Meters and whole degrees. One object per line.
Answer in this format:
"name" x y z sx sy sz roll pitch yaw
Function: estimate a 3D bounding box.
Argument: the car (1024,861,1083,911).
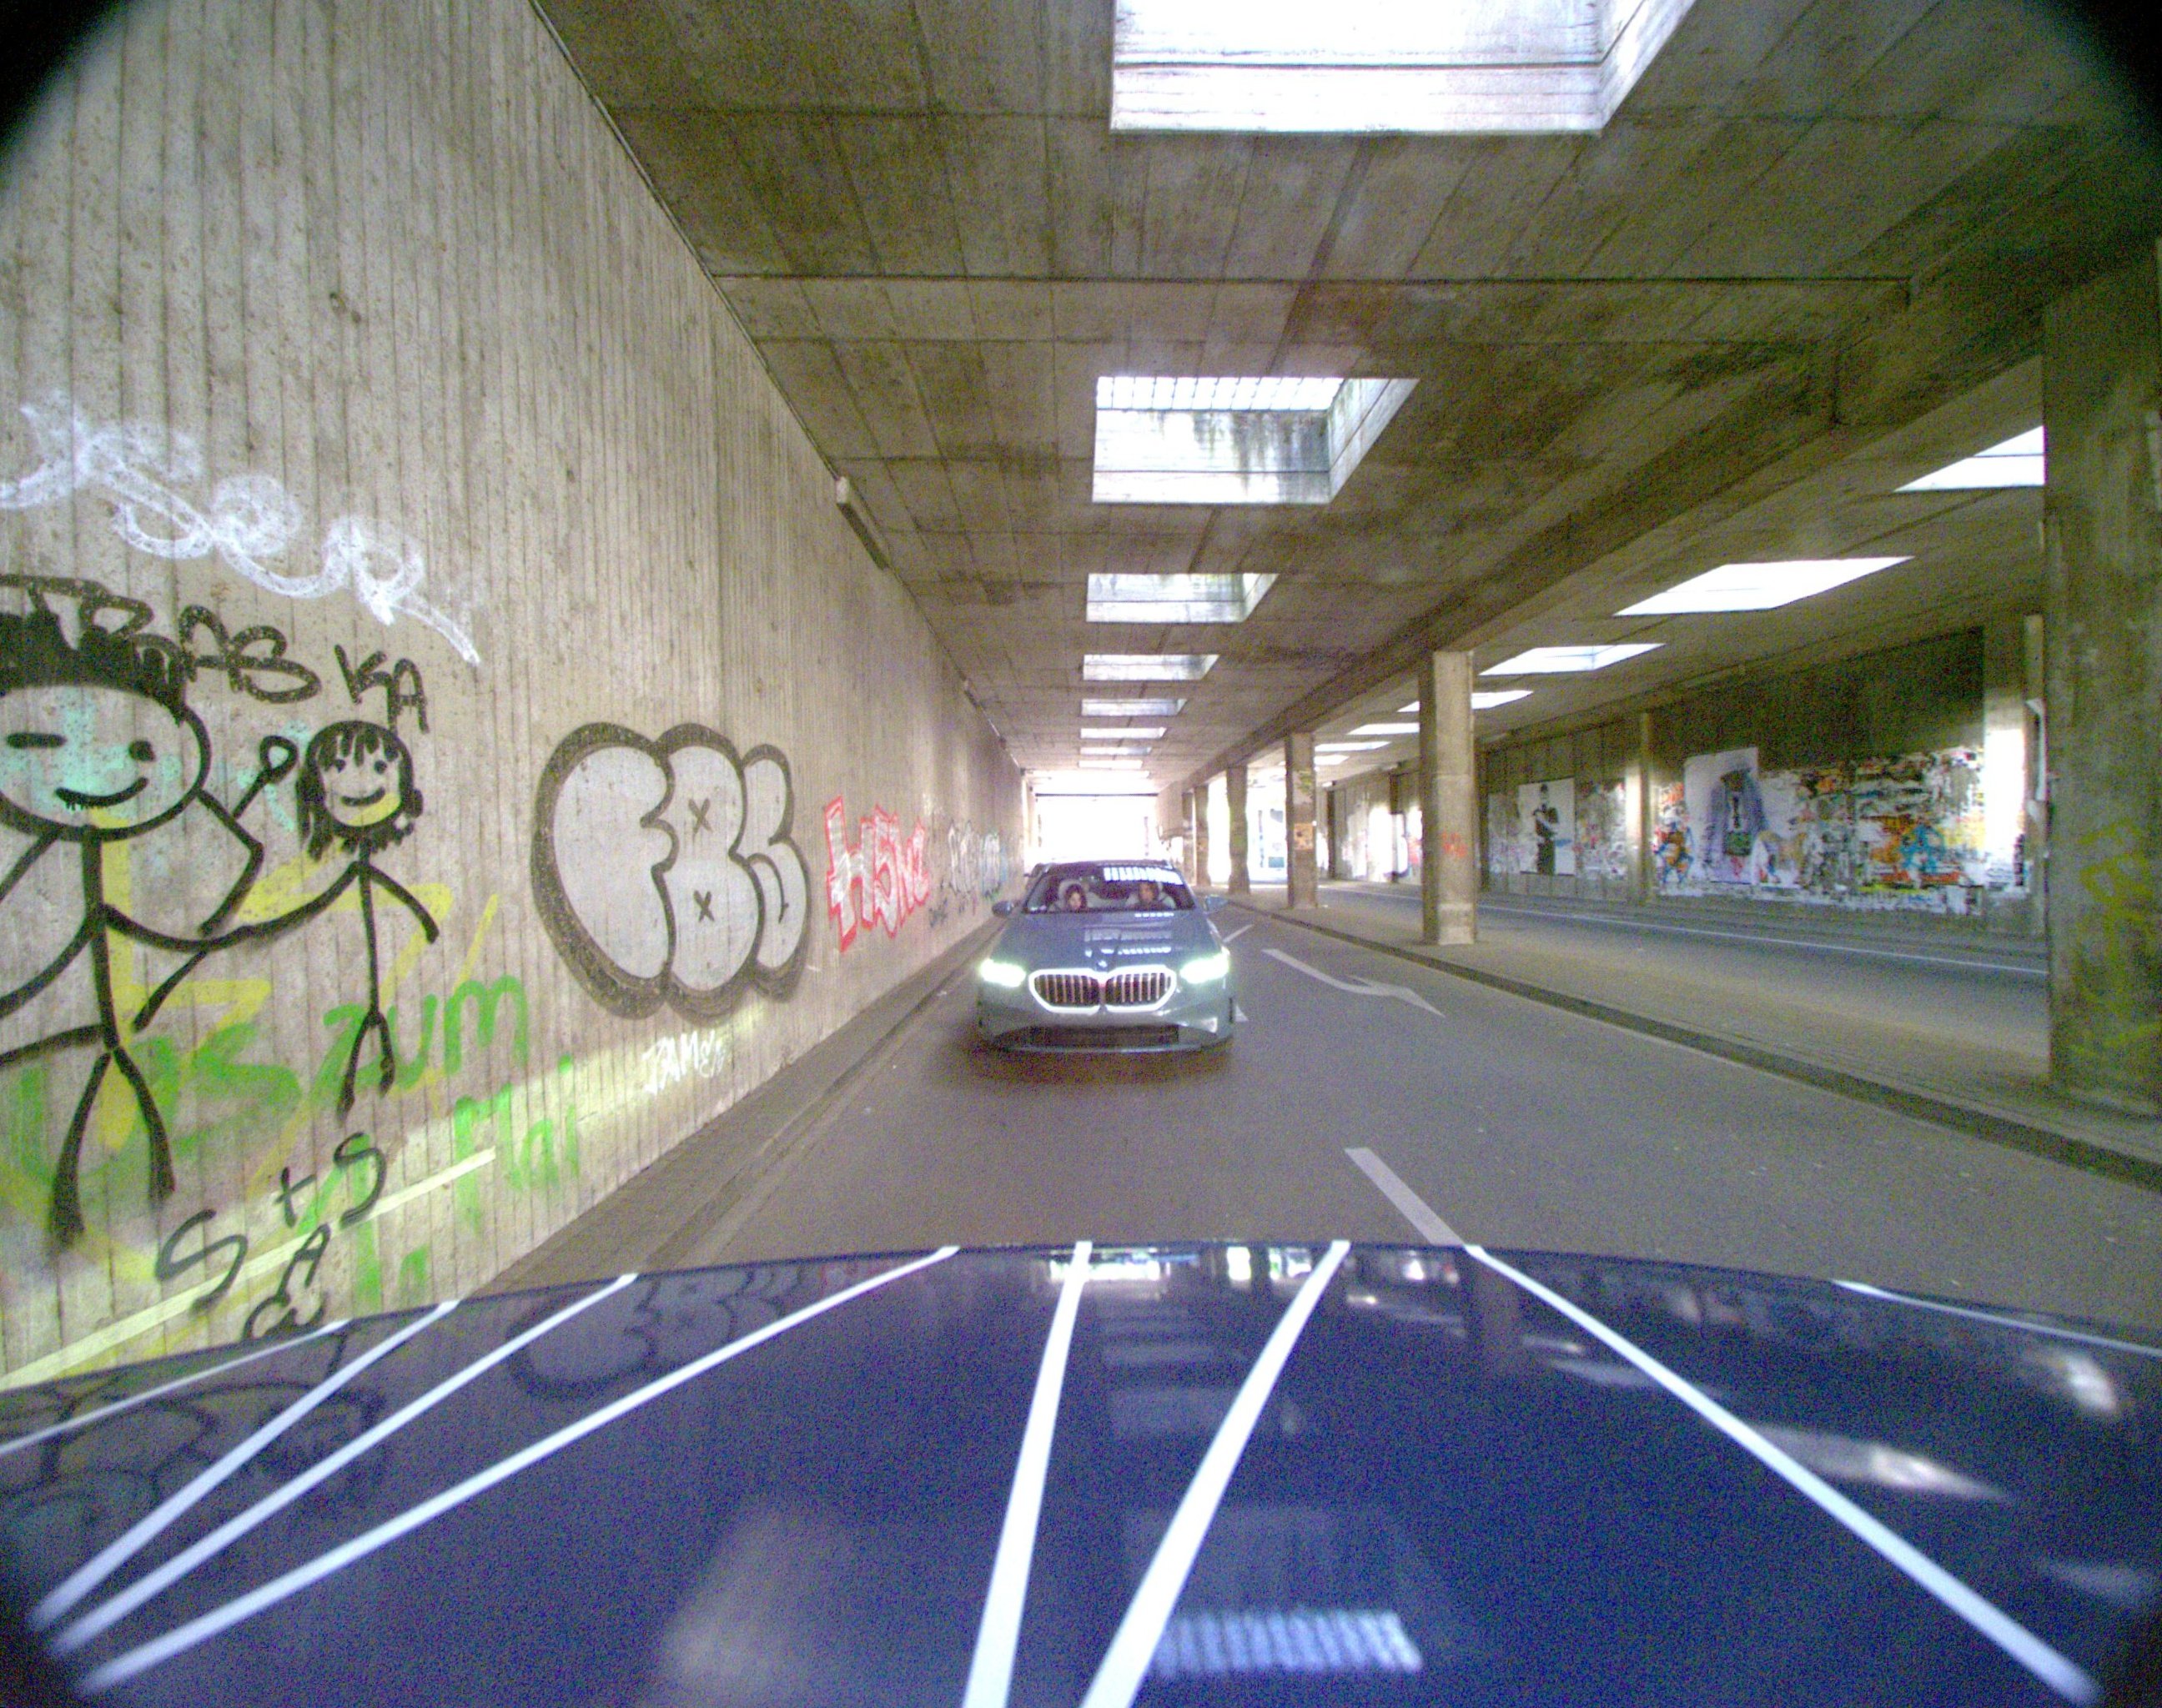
"car" -0.779 0.936 23.821 1.616 1.367 4.199 -1 0 1

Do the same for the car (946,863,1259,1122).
"car" 0.171 0.912 7.346 1.957 1.546 5.040 -1 0 1

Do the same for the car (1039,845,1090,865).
"car" -1.584 0.061 72.765 4.814 1.823 1.999 -1 0 -4

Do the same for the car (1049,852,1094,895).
"car" -0.324 0.709 29.997 1.616 1.546 4.013 -1 0 1

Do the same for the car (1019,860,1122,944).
"car" -0.168 0.944 16.787 1.957 1.546 4.247 -1 0 1

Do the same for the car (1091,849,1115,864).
"car" 2.402 0.259 81.547 1.931 1.543 4.003 -1 0 10
